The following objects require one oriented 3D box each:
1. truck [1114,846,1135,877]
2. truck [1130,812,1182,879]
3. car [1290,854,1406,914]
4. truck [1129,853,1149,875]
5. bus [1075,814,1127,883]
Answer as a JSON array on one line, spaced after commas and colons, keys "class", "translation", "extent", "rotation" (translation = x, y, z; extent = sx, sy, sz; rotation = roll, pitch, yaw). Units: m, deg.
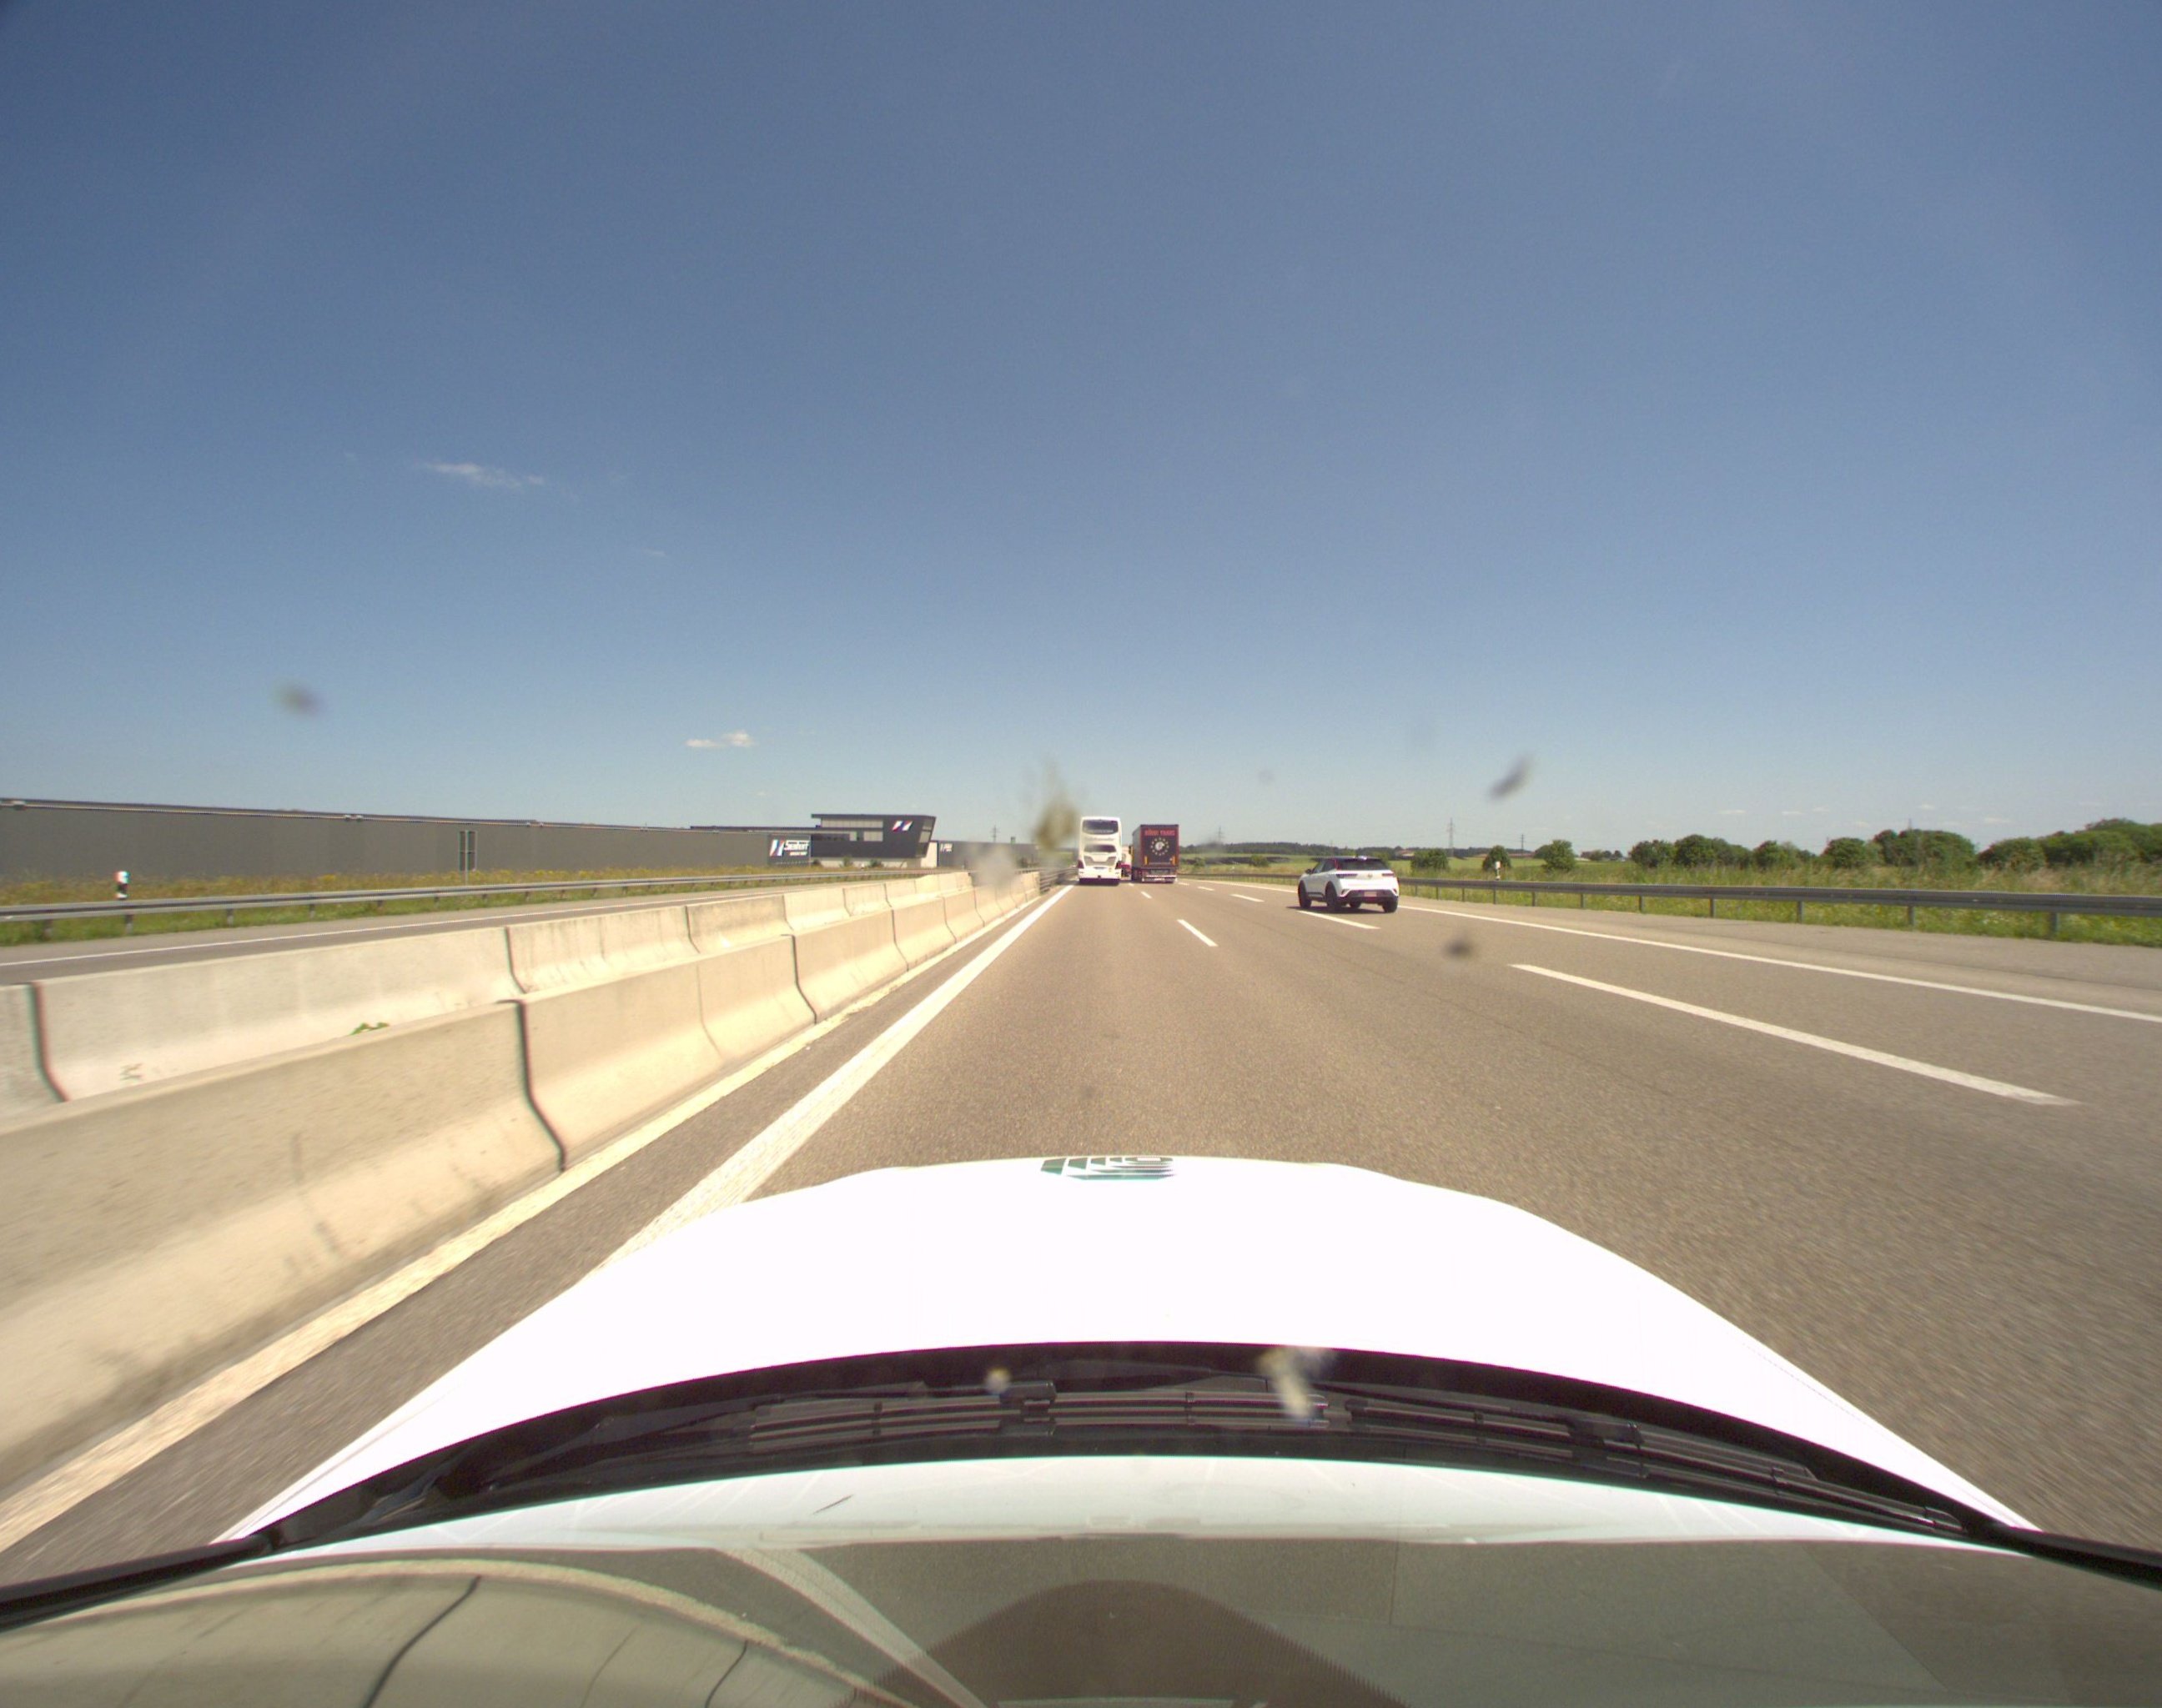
[{"class": "truck", "translation": [5.501, 0.981, 104.261], "extent": [2.429, 3.789, 6.493], "rotation": [0, -1, 0]}, {"class": "truck", "translation": [5.399, -0.383, 60.845], "extent": [3.365, 4.464, 13.576], "rotation": [0, -2, 3]}, {"class": "car", "translation": [7.508, 0.775, 23.317], "extent": [1.885, 1.529, 4.260], "rotation": [-1, 0, -1]}, {"class": "truck", "translation": [9.446, 1.546, 133.097], "extent": [2.574, 3.401, 8.684], "rotation": [-1, 0, 0]}, {"class": "bus", "translation": [1.178, -0.402, 51.461], "extent": [2.970, 3.974, 9.106], "rotation": [-1, 1, 0]}]
